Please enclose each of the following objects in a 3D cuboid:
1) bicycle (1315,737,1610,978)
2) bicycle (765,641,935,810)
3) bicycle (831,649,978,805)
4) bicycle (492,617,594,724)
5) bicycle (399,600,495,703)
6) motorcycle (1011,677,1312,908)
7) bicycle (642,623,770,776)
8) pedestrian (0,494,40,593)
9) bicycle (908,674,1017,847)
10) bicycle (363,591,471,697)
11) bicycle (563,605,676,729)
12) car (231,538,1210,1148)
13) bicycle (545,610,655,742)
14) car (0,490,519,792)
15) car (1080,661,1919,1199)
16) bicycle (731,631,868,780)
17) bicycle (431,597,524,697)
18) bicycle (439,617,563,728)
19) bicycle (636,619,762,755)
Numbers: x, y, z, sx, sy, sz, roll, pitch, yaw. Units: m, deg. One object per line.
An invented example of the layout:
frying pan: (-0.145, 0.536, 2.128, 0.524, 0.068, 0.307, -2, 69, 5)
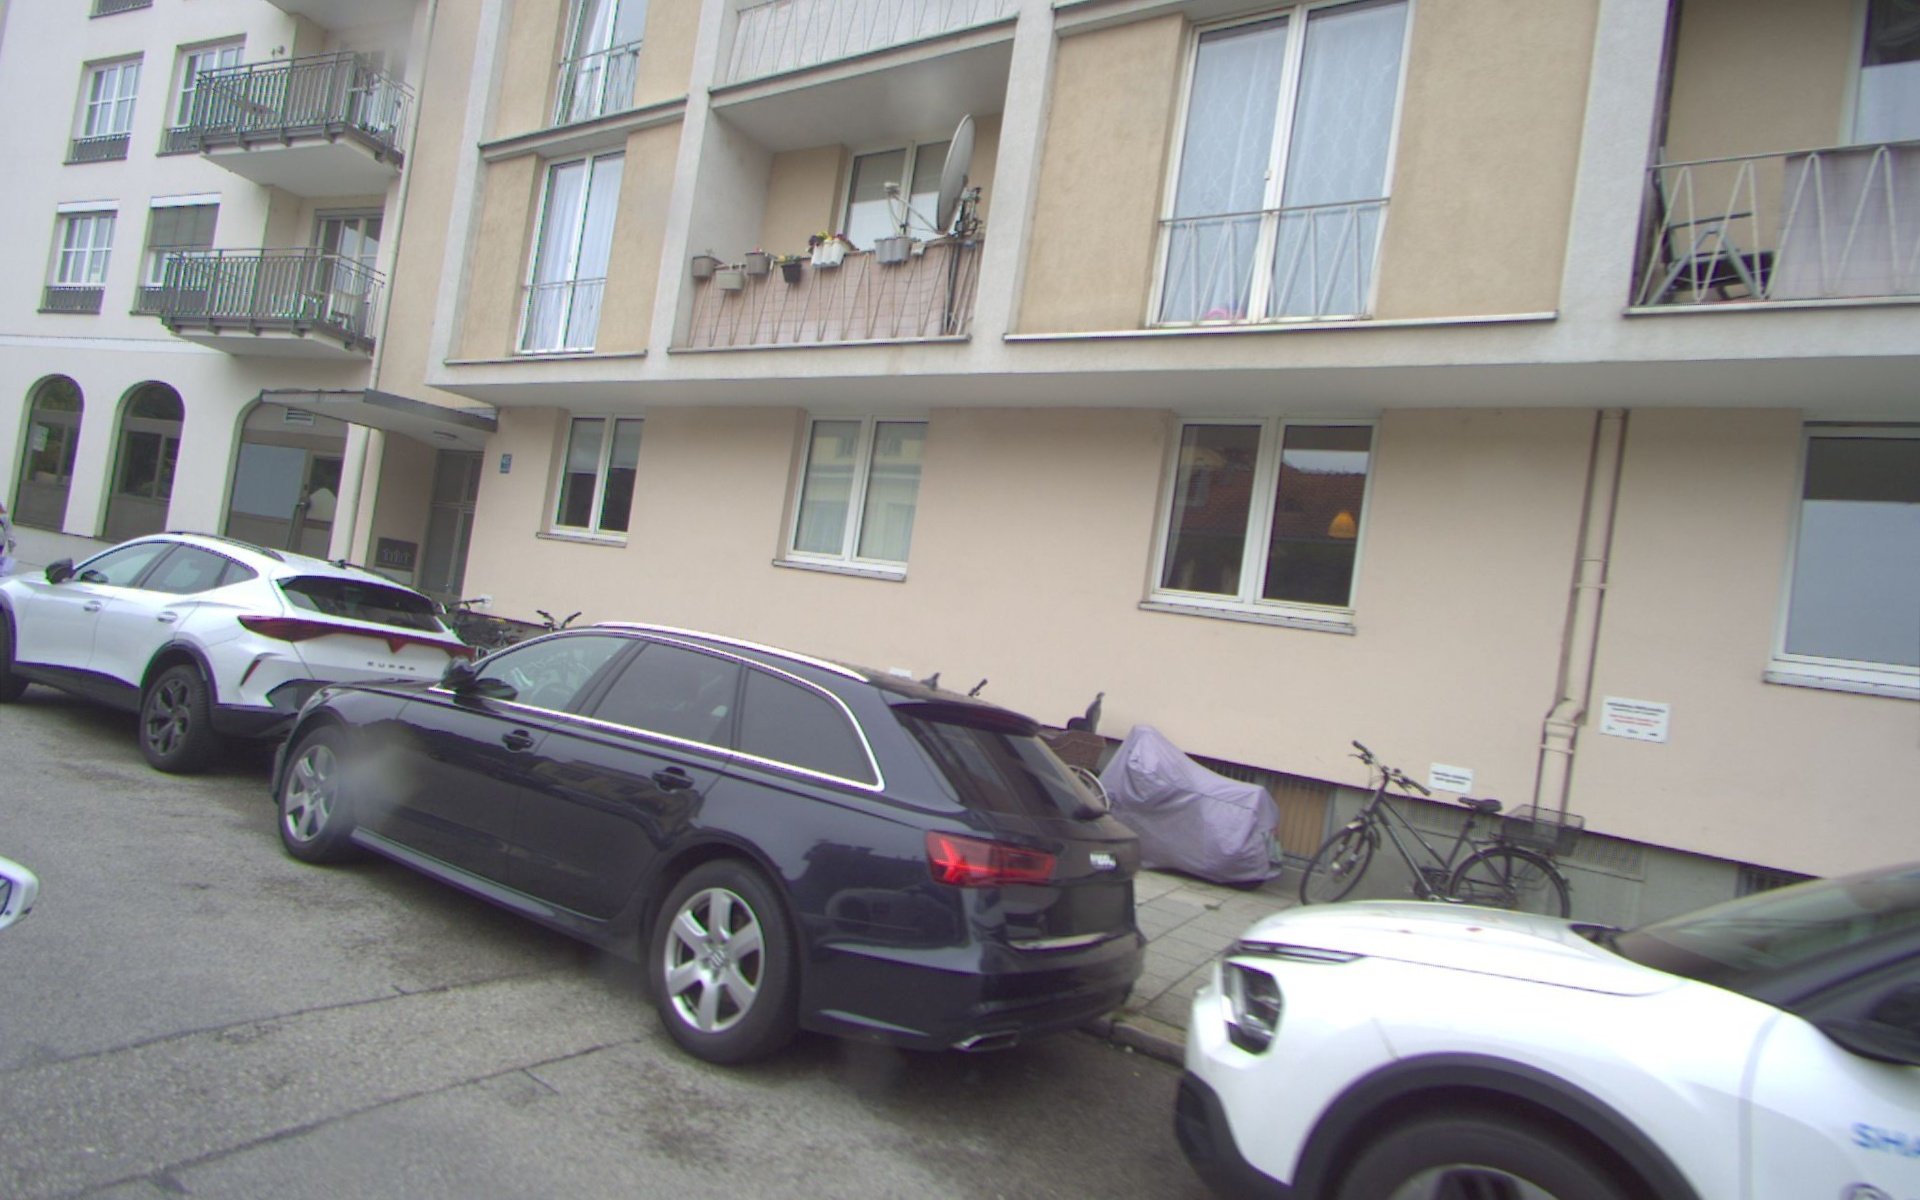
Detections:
bicycle: (3.300, 1.636, 6.689, 1.574, 1.171, 0.514, 7, 0, 31)
bicycle: (-0.960, 1.042, 8.673, 1.347, 1.217, 0.447, 6, 2, 30)
bicycle: (-0.538, 1.141, 9.345, 1.322, 1.217, 0.392, 7, 2, 38)
bicycle: (-5.067, 0.838, 12.193, 1.325, 1.115, 0.369, 7, 2, 33)
bicycle: (-6.442, 0.631, 12.609, 1.365, 1.115, 0.369, 7, 2, 33)
motorcycle: (1.490, 1.376, 7.634, 2.007, 1.286, 0.636, 7, 0, 31)
bicycle: (-2.442, 0.905, 9.559, 0.395, 1.217, 1.548, 4, 2, -42)
pedestrian: (-16.373, -0.995, 17.117, 0.687, 1.624, 0.713, 7, 0, 23)
bicycle: (0.050, 1.265, 8.307, 0.386, 1.217, 1.341, 6, 1, 18)
bicycle: (-6.575, 0.514, 12.177, 1.323, 1.115, 0.392, 6, 2, 27)
bicycle: (-3.877, 0.740, 11.410, 1.373, 1.217, 0.446, 7, 2, 39)
car: (-1.388, 0.784, 4.926, 4.616, 1.442, 1.780, 7, -7, 33)
bicycle: (-3.839, 0.785, 10.692, 1.264, 1.217, 0.412, 7, 2, 39)
car: (-5.757, 0.266, 7.795, 4.228, 1.537, 1.785, 8, -6, 26)
car: (2.558, 1.266, 2.329, 4.050, 1.482, 1.710, 7, -6, 30)
bicycle: (-1.548, 0.976, 9.601, 1.265, 1.217, 0.417, 7, 2, 36)
bicycle: (-6.216, 0.593, 12.931, 1.325, 1.115, 0.369, 7, 2, 33)
bicycle: (-5.332, 0.825, 11.687, 1.277, 1.115, 0.395, 6, 2, 16)
bicycle: (-2.756, 0.881, 10.561, 1.373, 1.217, 0.446, 7, 2, 39)
